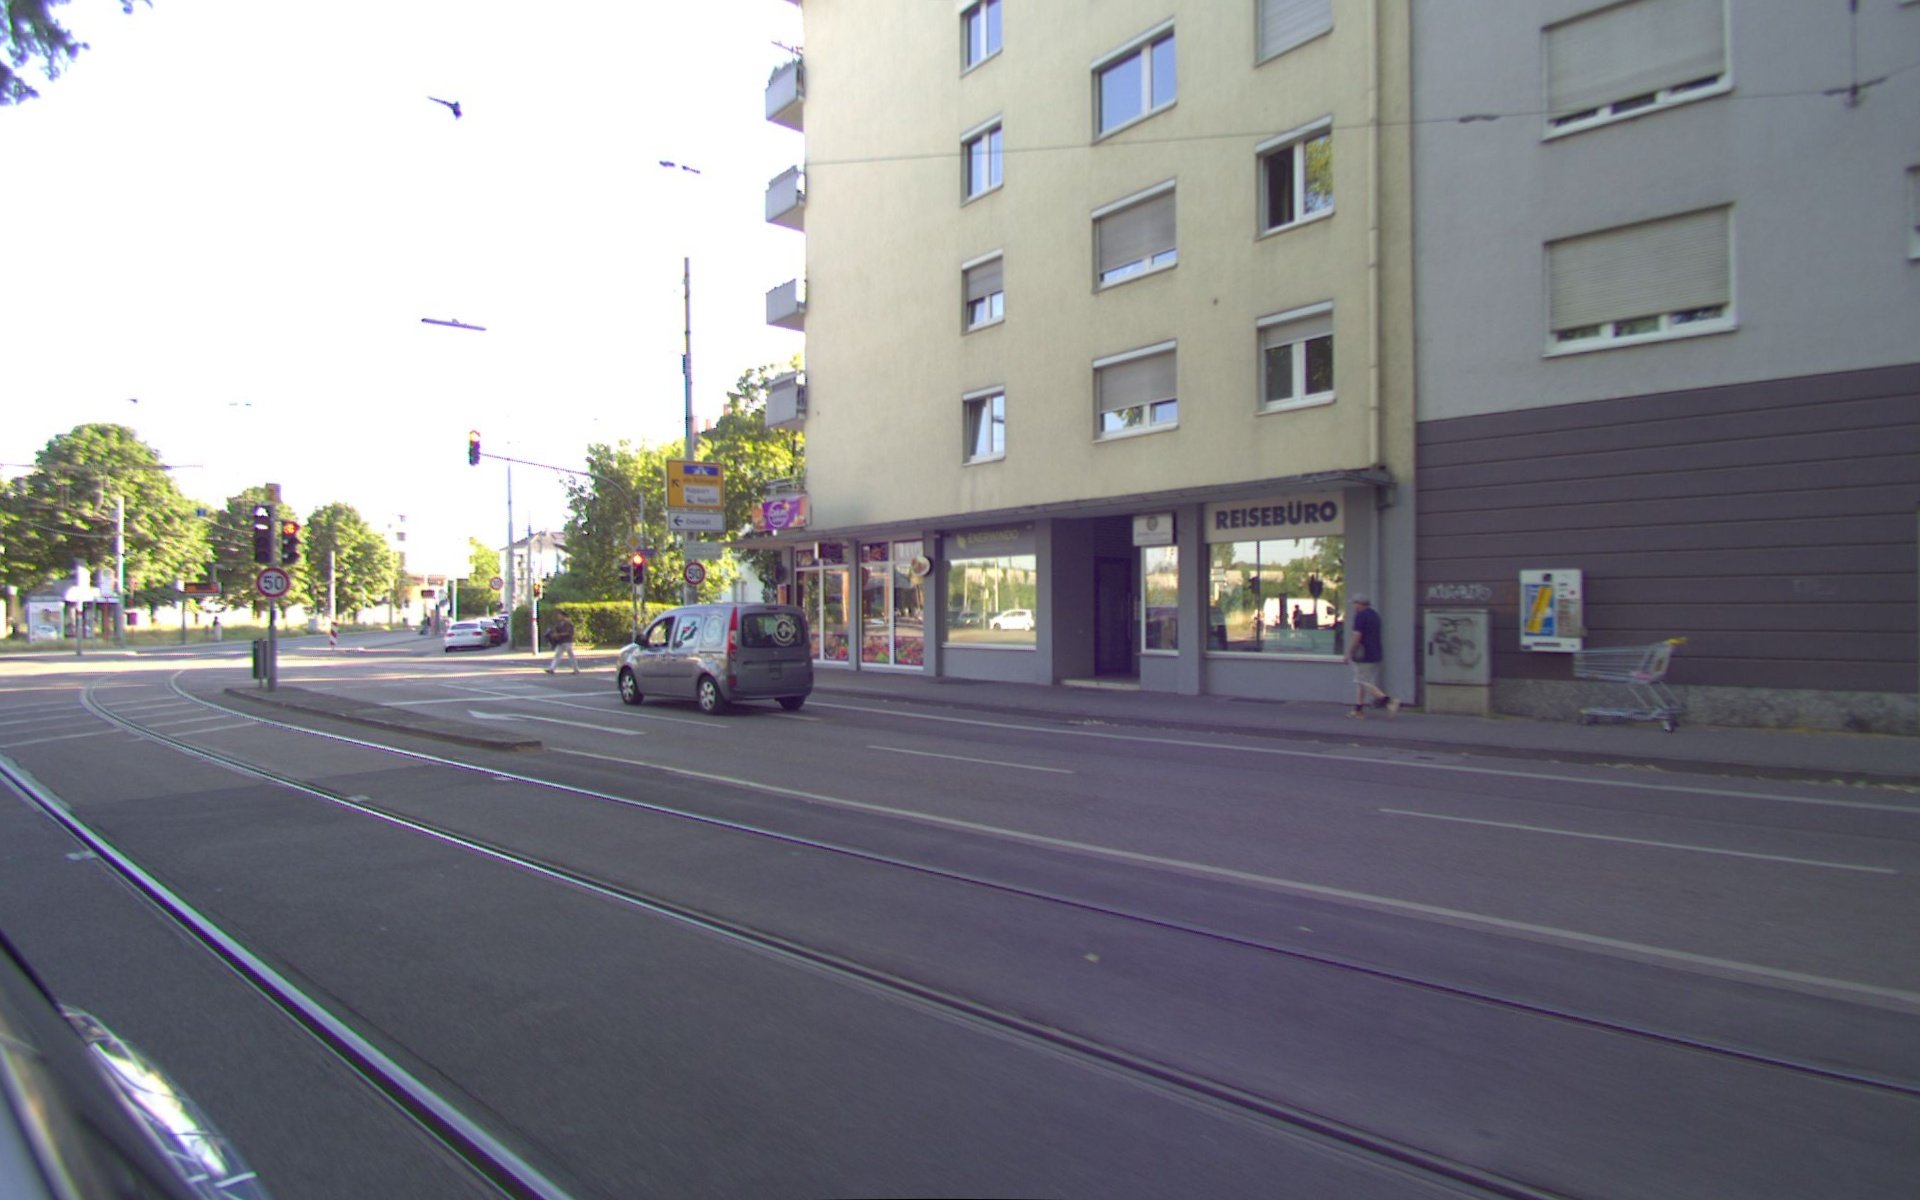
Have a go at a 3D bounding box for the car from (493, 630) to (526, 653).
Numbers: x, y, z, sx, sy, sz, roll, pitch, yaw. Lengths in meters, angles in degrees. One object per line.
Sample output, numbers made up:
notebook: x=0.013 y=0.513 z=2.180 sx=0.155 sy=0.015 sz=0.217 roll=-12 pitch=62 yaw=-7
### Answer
car: x=-32.498 y=3.000 z=73.130 sx=1.787 sy=1.591 sz=3.752 roll=-2 pitch=-1 yaw=-18

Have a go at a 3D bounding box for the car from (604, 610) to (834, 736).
car: x=-4.180 y=1.135 z=17.149 sx=1.970 sy=1.846 sz=4.228 roll=1 pitch=-2 yaw=-43

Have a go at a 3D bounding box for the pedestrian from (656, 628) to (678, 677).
pedestrian: x=-9.731 y=1.736 z=33.635 sx=0.545 sy=1.589 sz=0.466 roll=-1 pitch=0 yaw=41

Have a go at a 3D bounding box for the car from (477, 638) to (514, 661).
car: x=-31.012 y=3.273 z=67.675 sx=1.787 sy=1.439 sz=3.752 roll=-2 pitch=-1 yaw=-18

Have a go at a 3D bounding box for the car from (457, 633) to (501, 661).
car: x=-24.838 y=2.416 z=52.385 sx=1.614 sy=1.333 sz=3.349 roll=-2 pitch=-1 yaw=-18

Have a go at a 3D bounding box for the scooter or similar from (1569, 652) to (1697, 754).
scooter or similar: x=7.871 y=1.175 z=11.845 sx=1.162 sy=1.063 sz=0.722 roll=-1 pitch=0 yaw=41

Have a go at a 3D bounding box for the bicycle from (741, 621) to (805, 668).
bicycle: x=-6.458 y=1.517 z=34.859 sx=2.516 sy=1.555 sz=0.834 roll=-1 pitch=-2 yaw=42

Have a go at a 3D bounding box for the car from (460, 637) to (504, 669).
car: x=-27.510 y=3.018 z=58.377 sx=1.787 sy=1.707 sz=3.993 roll=-2 pitch=-1 yaw=-18

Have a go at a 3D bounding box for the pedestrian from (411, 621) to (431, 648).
pedestrian: x=-40.640 y=2.596 z=76.329 sx=0.871 sy=2.029 sz=0.994 roll=-1 pitch=-2 yaw=20

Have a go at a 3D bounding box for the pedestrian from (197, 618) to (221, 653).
pedestrian: x=-44.535 y=2.117 z=60.025 sx=0.858 sy=2.029 sz=0.902 roll=-2 pitch=-2 yaw=36

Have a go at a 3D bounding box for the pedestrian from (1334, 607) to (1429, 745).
pedestrian: x=5.494 y=0.955 z=13.194 sx=0.904 sy=1.686 sz=0.707 roll=-2 pitch=1 yaw=42

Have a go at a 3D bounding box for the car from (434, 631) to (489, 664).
car: x=-23.461 y=2.224 z=47.729 sx=1.787 sy=1.439 sz=3.752 roll=-2 pitch=-1 yaw=-18

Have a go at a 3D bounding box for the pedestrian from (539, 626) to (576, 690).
pedestrian: x=-10.808 y=1.533 z=27.158 sx=0.742 sy=1.693 sz=0.795 roll=1 pitch=-2 yaw=-34
